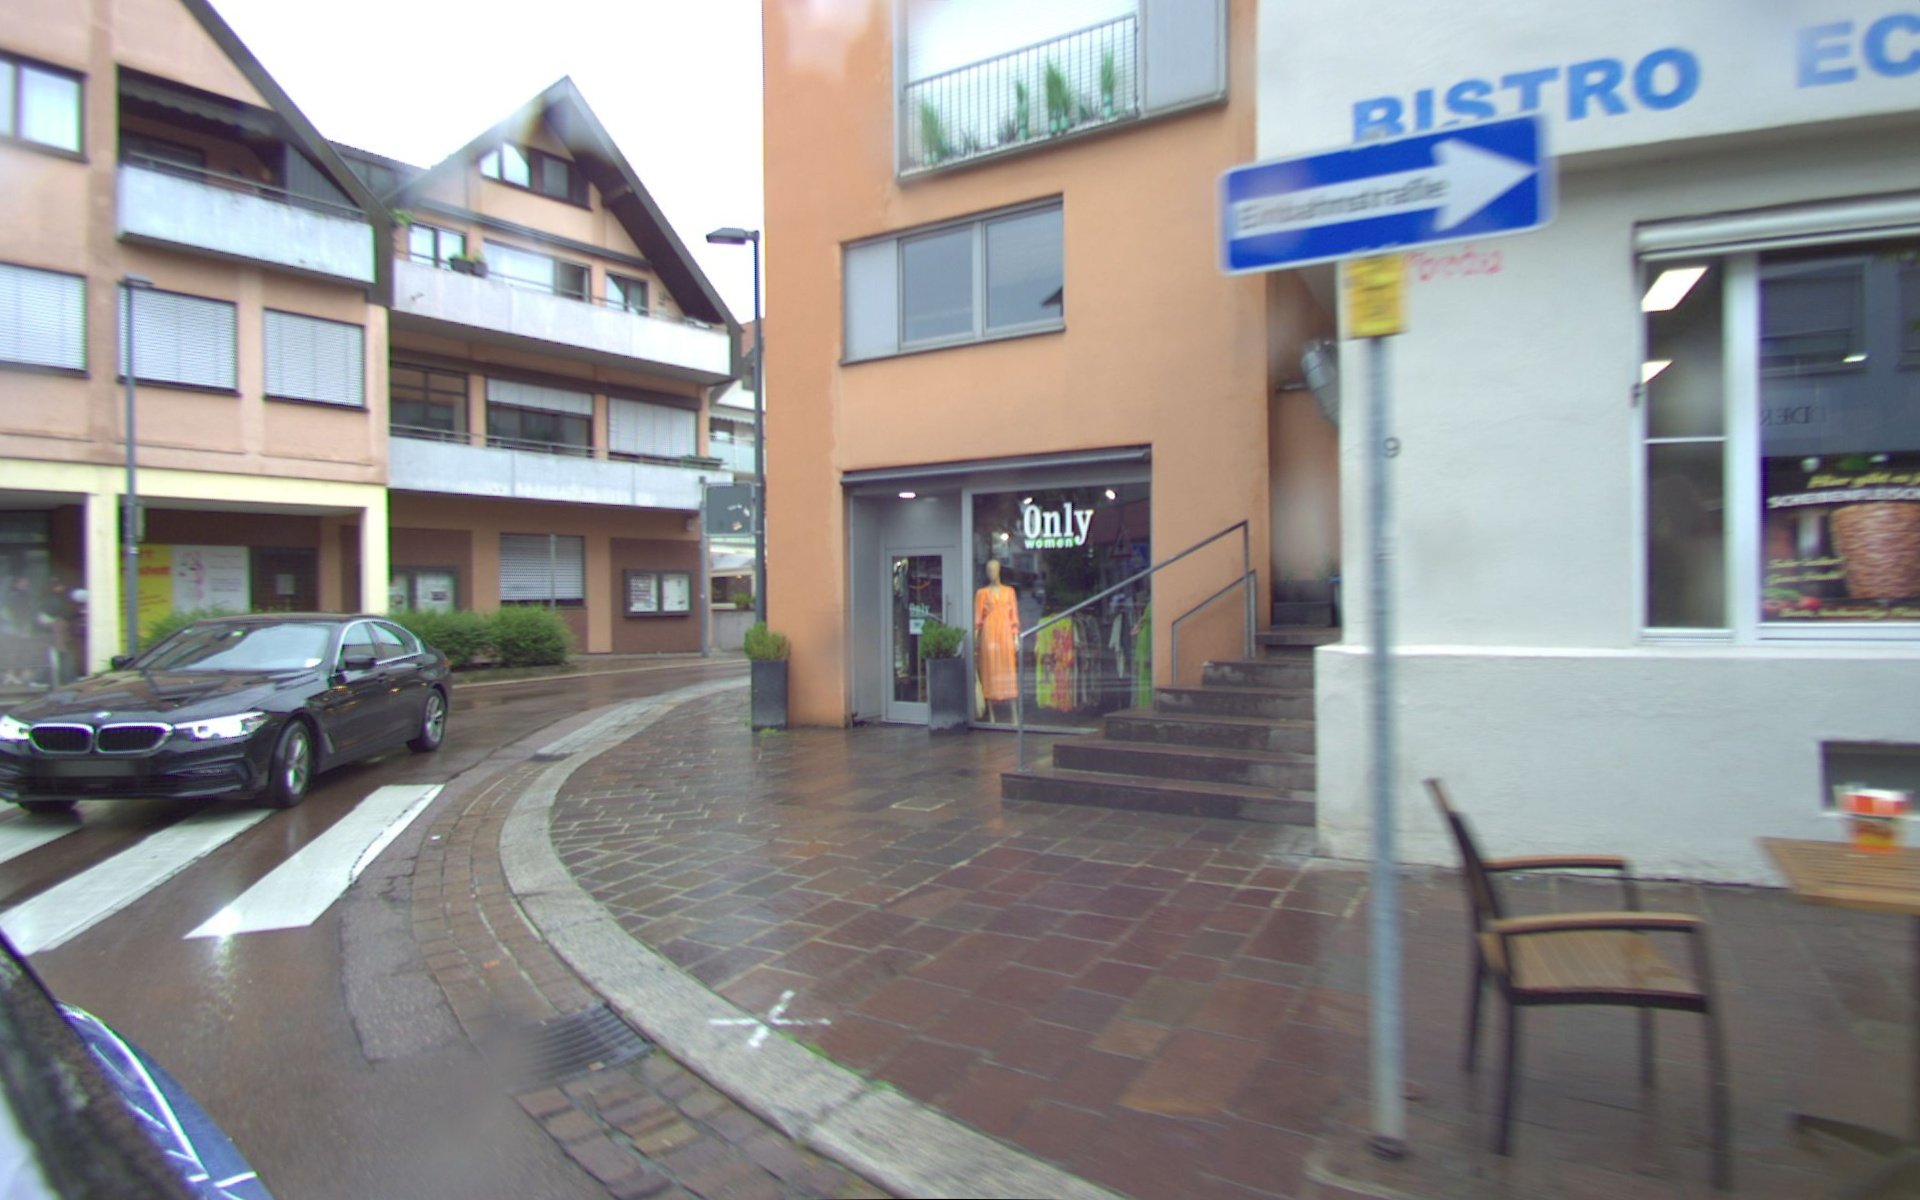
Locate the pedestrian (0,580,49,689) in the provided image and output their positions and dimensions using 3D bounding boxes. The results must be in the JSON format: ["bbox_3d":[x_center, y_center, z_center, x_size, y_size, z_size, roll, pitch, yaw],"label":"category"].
[{"bbox_3d":[-15.172,0.541,16.255,0.725,1.702,0.723,0,0,43],"label":"pedestrian"}]

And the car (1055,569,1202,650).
[{"bbox_3d":[5.293,0.296,31.048,1.997,2.257,5.788,-1,-1,37],"label":"car"}]

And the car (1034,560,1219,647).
[{"bbox_3d":[6.458,0.154,37.912,2.710,2.896,8.724,-1,-1,41],"label":"car"}]

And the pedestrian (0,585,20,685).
[{"bbox_3d":[-15.969,0.575,16.438,0.697,1.631,0.798,-1,0,-10],"label":"pedestrian"}]

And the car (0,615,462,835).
[{"bbox_3d":[-6.184,0.867,8.921,1.918,1.413,4.427,1,-1,-8],"label":"car"}]

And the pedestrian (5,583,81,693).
[{"bbox_3d":[-14.435,0.578,15.934,0.698,1.674,0.809,0,0,42],"label":"pedestrian"}]
